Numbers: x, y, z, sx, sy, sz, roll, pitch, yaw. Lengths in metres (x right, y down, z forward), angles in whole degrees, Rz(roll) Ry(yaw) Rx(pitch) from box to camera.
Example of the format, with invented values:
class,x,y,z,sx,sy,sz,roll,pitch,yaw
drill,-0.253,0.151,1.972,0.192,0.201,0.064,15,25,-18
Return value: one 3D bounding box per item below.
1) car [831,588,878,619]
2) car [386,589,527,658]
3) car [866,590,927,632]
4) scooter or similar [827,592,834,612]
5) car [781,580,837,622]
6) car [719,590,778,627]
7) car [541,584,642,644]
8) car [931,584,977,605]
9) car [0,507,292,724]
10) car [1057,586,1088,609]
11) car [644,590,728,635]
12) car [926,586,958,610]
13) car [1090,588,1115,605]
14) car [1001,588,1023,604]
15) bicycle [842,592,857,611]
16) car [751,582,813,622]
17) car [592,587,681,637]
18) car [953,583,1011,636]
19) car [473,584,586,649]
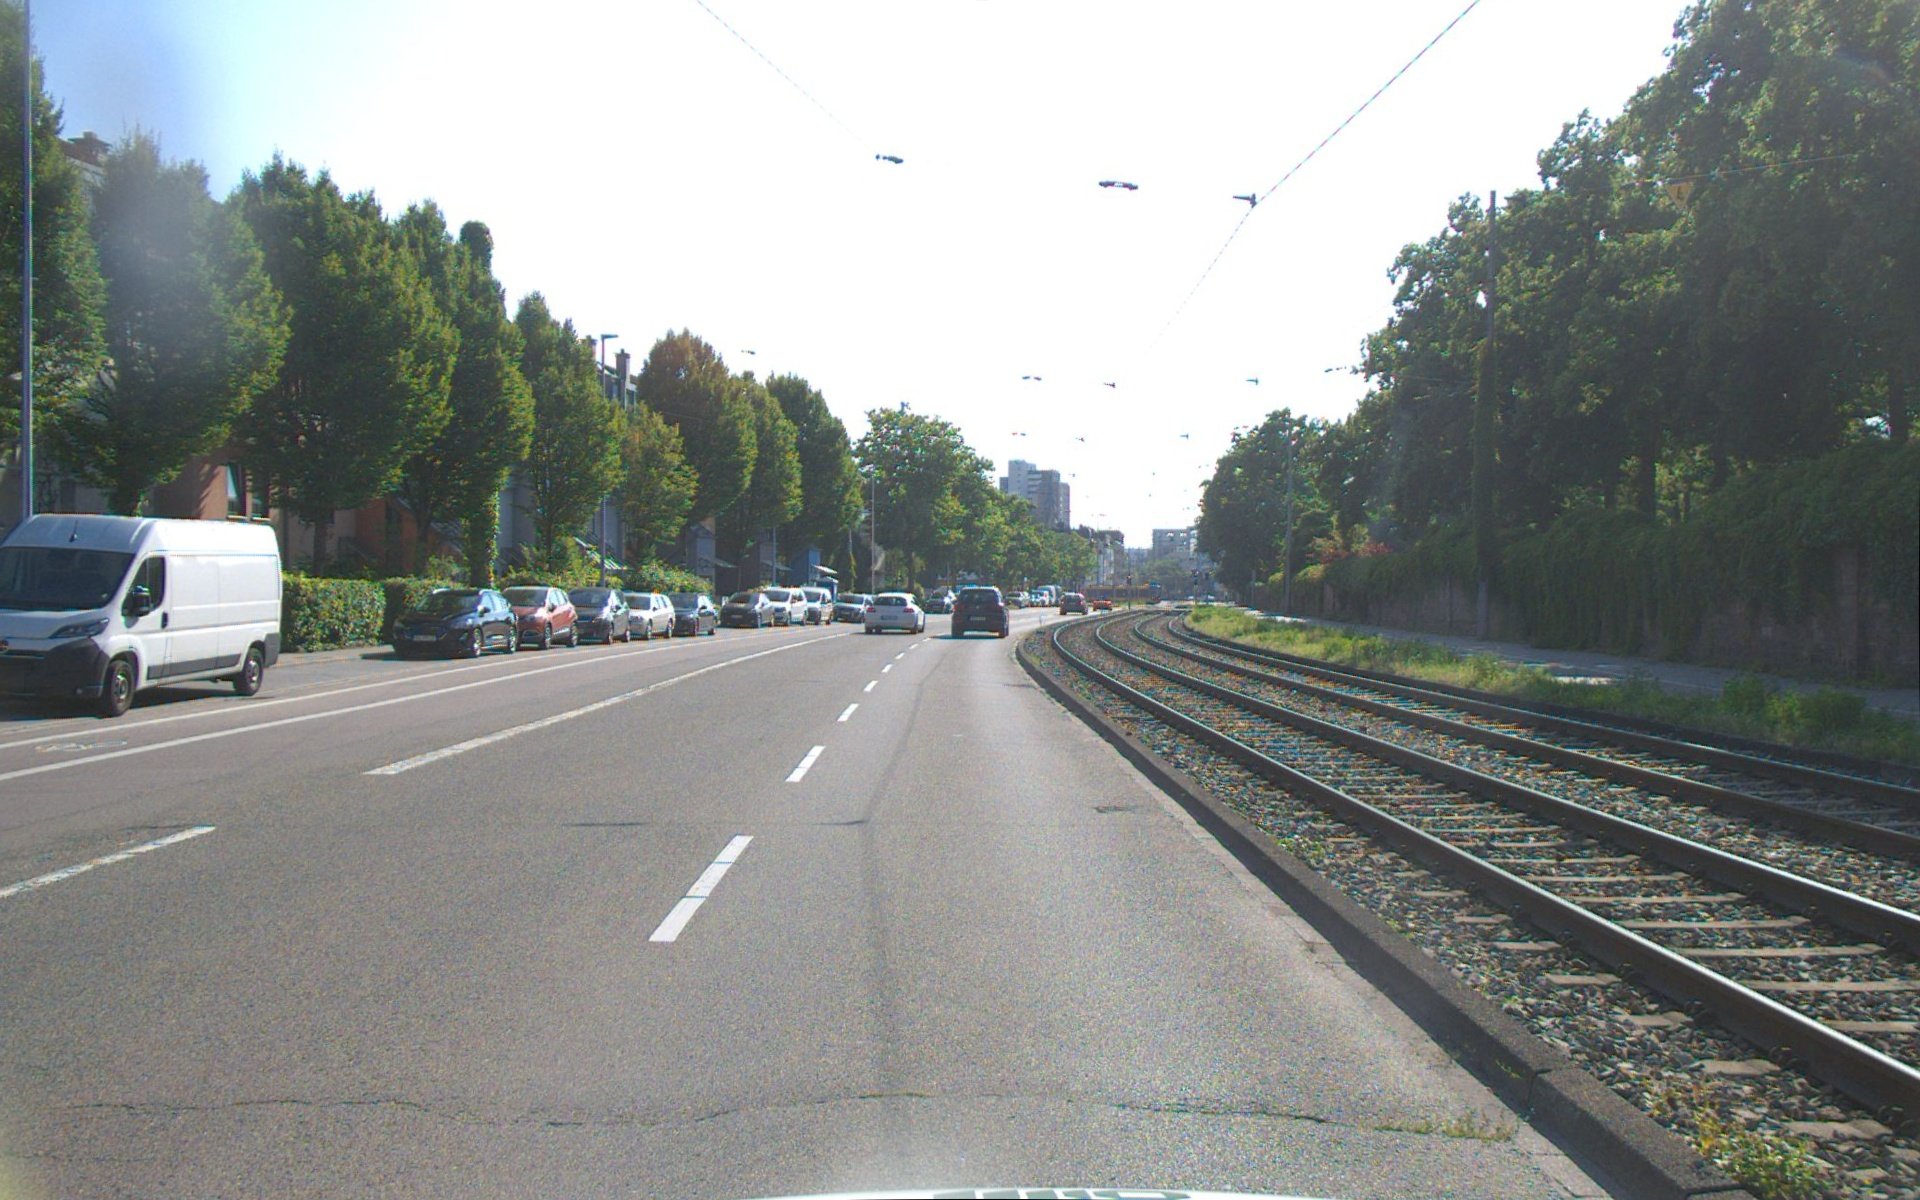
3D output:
class,x,y,z,sx,sy,sz,roll,pitch,yaw
car,-5.881,0.177,92.555,1.726,1.565,3.984,5,1,9
car,-11.223,0.480,37.187,1.618,1.449,4.714,0,1,1
car,-2.176,0.366,57.354,1.826,1.371,4.001,1,0,2
scooter or similar,-7.820,0.108,100.050,0.287,1.174,1.043,0,0,4
car,-7.518,0.026,82.844,1.726,1.877,4.583,5,1,7
car,-9.079,0.347,71.178,1.582,1.491,4.061,2,0,6
car,-10.792,0.395,48.709,1.725,1.601,4.301,2,0,4
car,-0.701,-0.677,196.721,5.260,2.466,2.089,0,0,9
car,-11.351,0.119,22.422,2.108,2.500,6.182,2,1,-1
car,7.801,-0.193,114.662,1.773,1.474,4.003,2,1,9
car,-9.876,0.428,59.987,1.673,1.497,4.913,2,0,6
car,-1.338,-0.158,124.222,1.675,1.723,4.426,0,0,9
car,12.643,-0.297,146.344,1.773,1.474,4.004,2,1,11
car,5.455,-0.405,172.431,1.695,1.687,4.004,0,0,10
bicycle,-7.125,0.112,106.905,0.434,1.174,1.786,0,-1,15
car,-8.209,0.100,76.649,1.633,1.730,4.828,2,0,8
car,-10.522,0.385,54.133,1.676,1.497,4.846,2,0,3
car,0.770,0.302,55.211,1.773,1.673,4.001,1,0,3
car,-11.090,0.414,42.886,1.726,1.601,4.163,0,0,2
